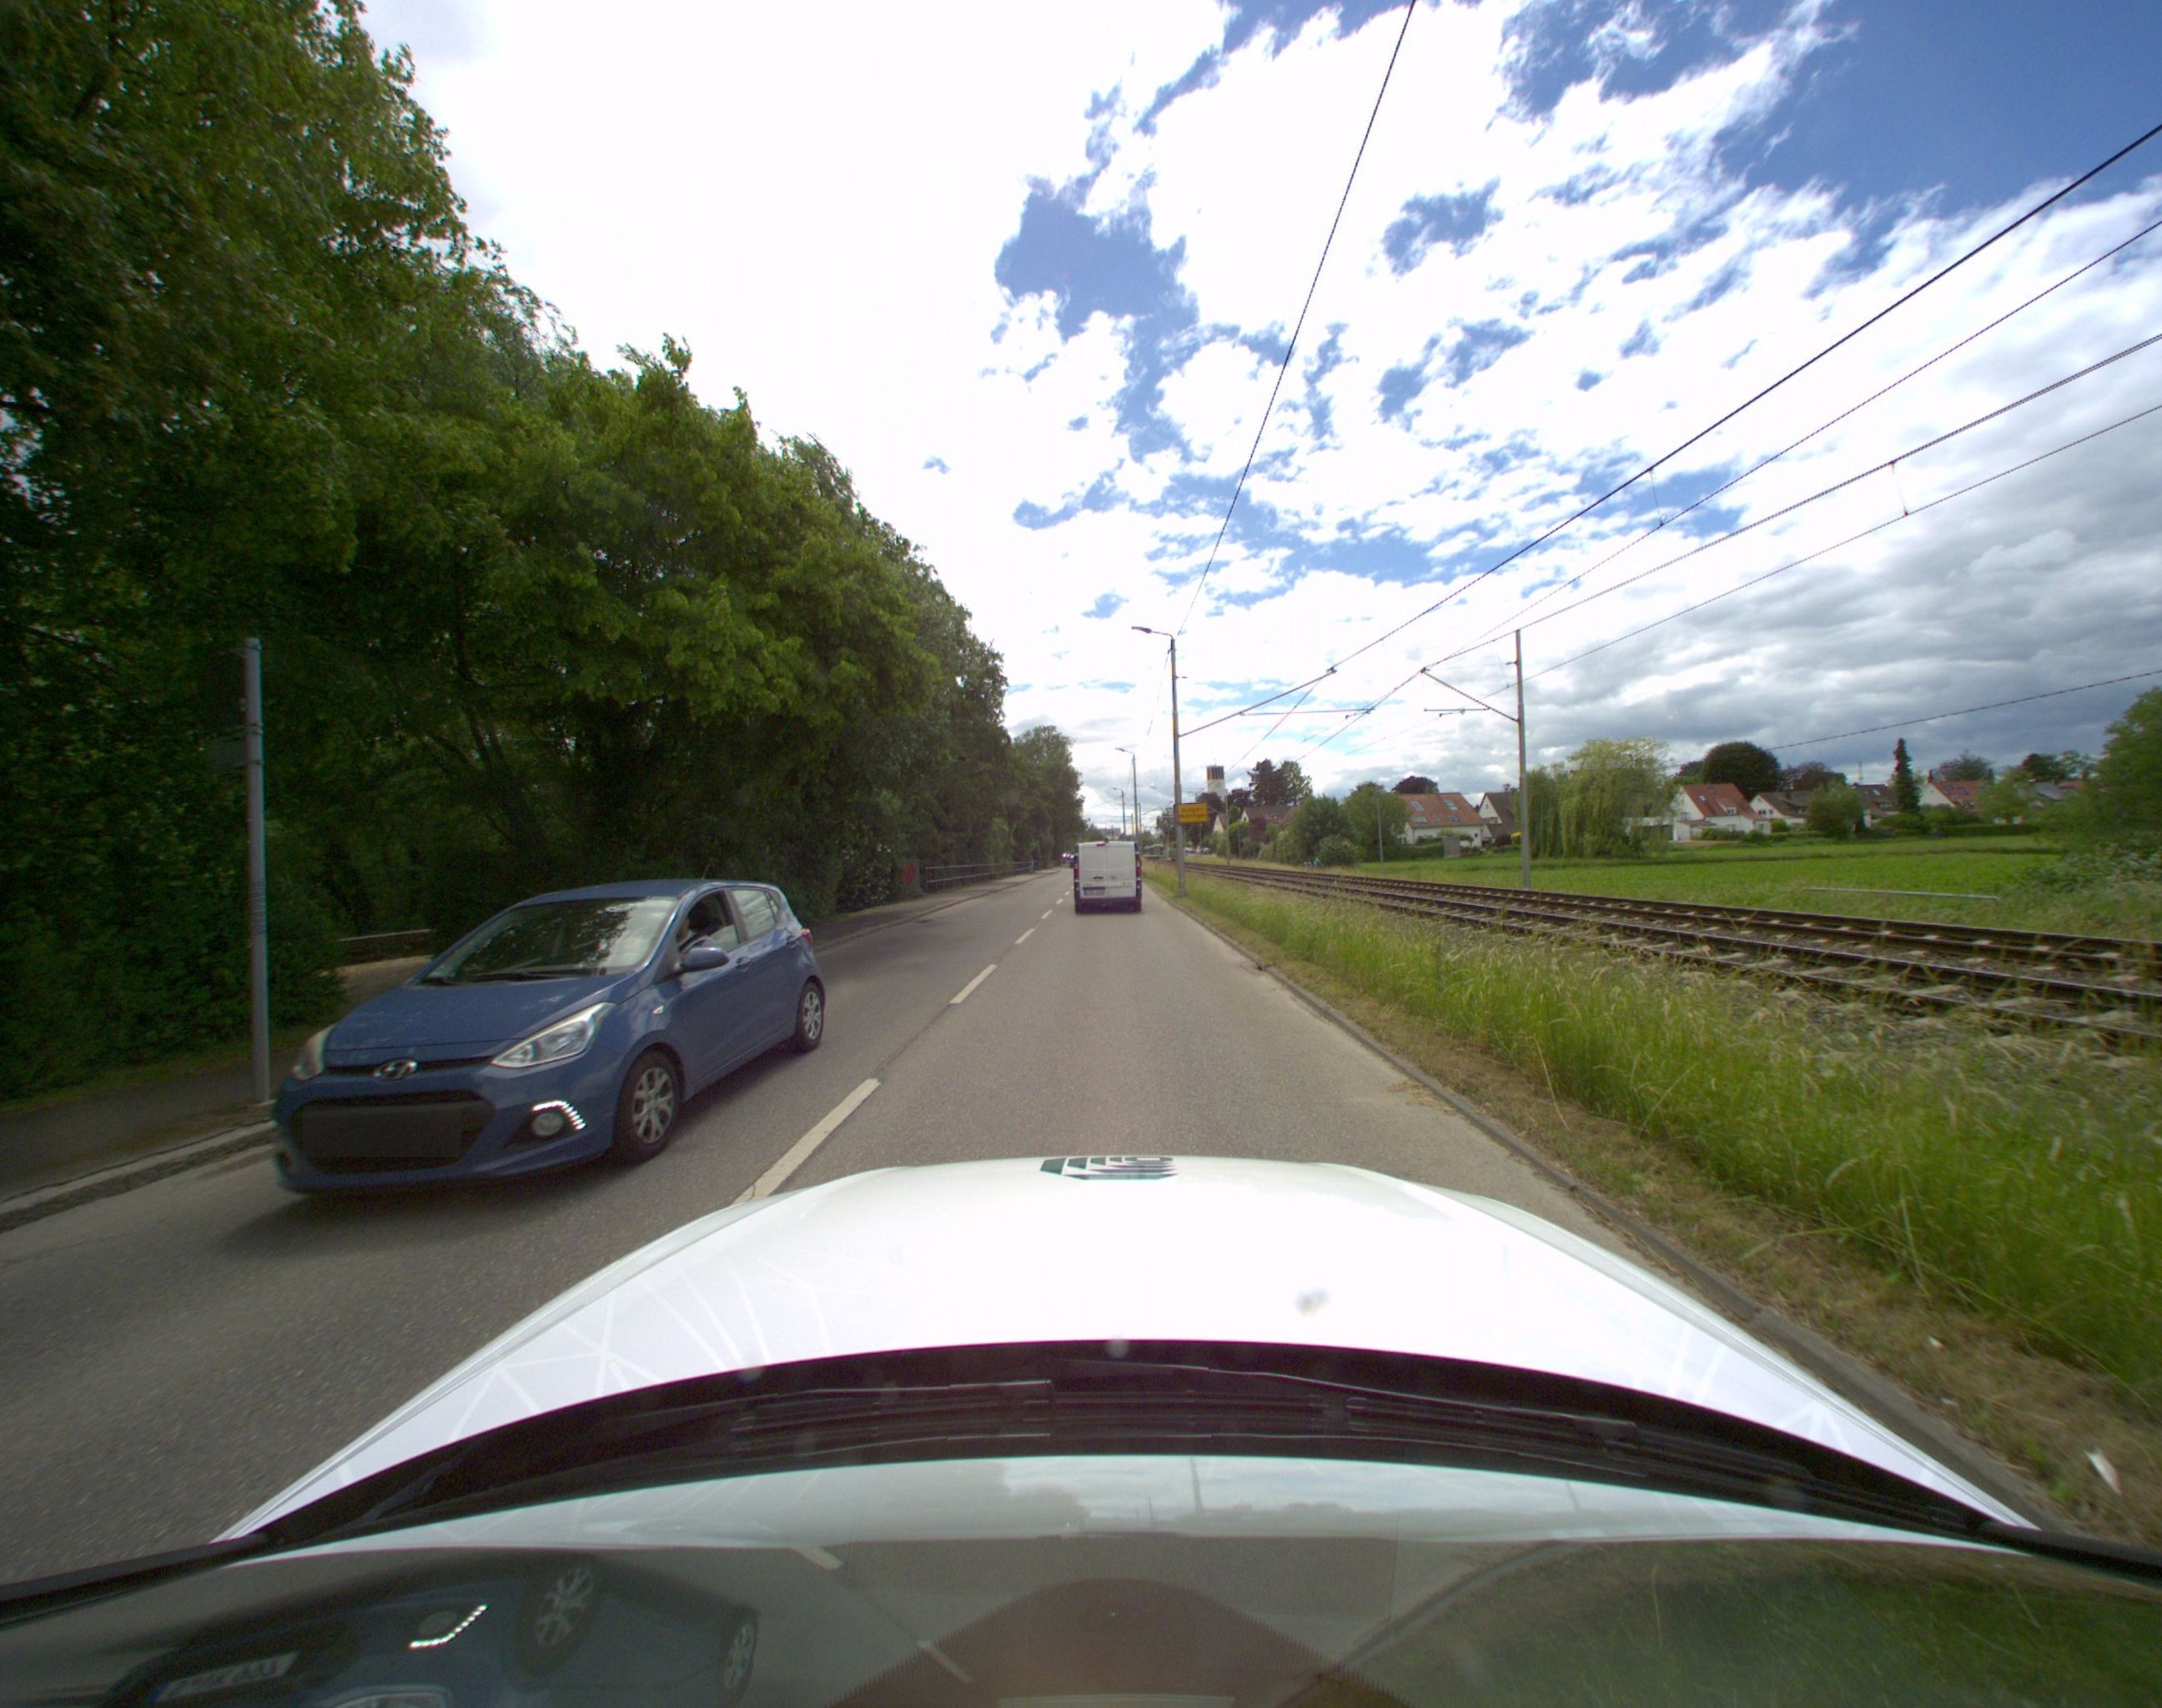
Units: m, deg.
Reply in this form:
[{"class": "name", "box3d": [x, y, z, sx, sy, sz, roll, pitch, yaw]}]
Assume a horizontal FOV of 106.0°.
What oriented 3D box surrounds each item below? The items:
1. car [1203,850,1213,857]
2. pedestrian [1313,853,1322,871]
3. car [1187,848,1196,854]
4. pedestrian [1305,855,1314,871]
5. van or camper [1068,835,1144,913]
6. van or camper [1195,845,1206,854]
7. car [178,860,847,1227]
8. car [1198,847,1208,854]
[{"class": "car", "box3d": [28.507, -0.130, 182.955, 1.876, 1.522, 4.002, -3, 0, 2]}, {"class": "pedestrian", "box3d": [20.898, 0.714, 71.965, 0.614, 1.622, 0.584, -1, 0, 1]}, {"class": "car", "box3d": [29.328, -0.783, 215.491, 1.876, 1.522, 4.002, -3, 0, 2]}, {"class": "pedestrian", "box3d": [20.184, 0.797, 72.037, 0.595, 1.430, 0.667, -1, 0, 2]}, {"class": "van or camper", "box3d": [0.745, 0.548, 23.804, 1.986, 2.014, 4.447, -1, 0, 2]}, {"class": "van or camper", "box3d": [28.382, -1.064, 193.793, 1.898, 1.826, 5.050, -3, 0, 2]}, {"class": "car", "box3d": [-3.102, 0.862, 5.557, 1.700, 1.528, 3.826, -4, -1, 2]}, {"class": "car", "box3d": [28.268, -0.897, 189.071, 1.876, 1.522, 4.002, -3, 0, 2]}]
